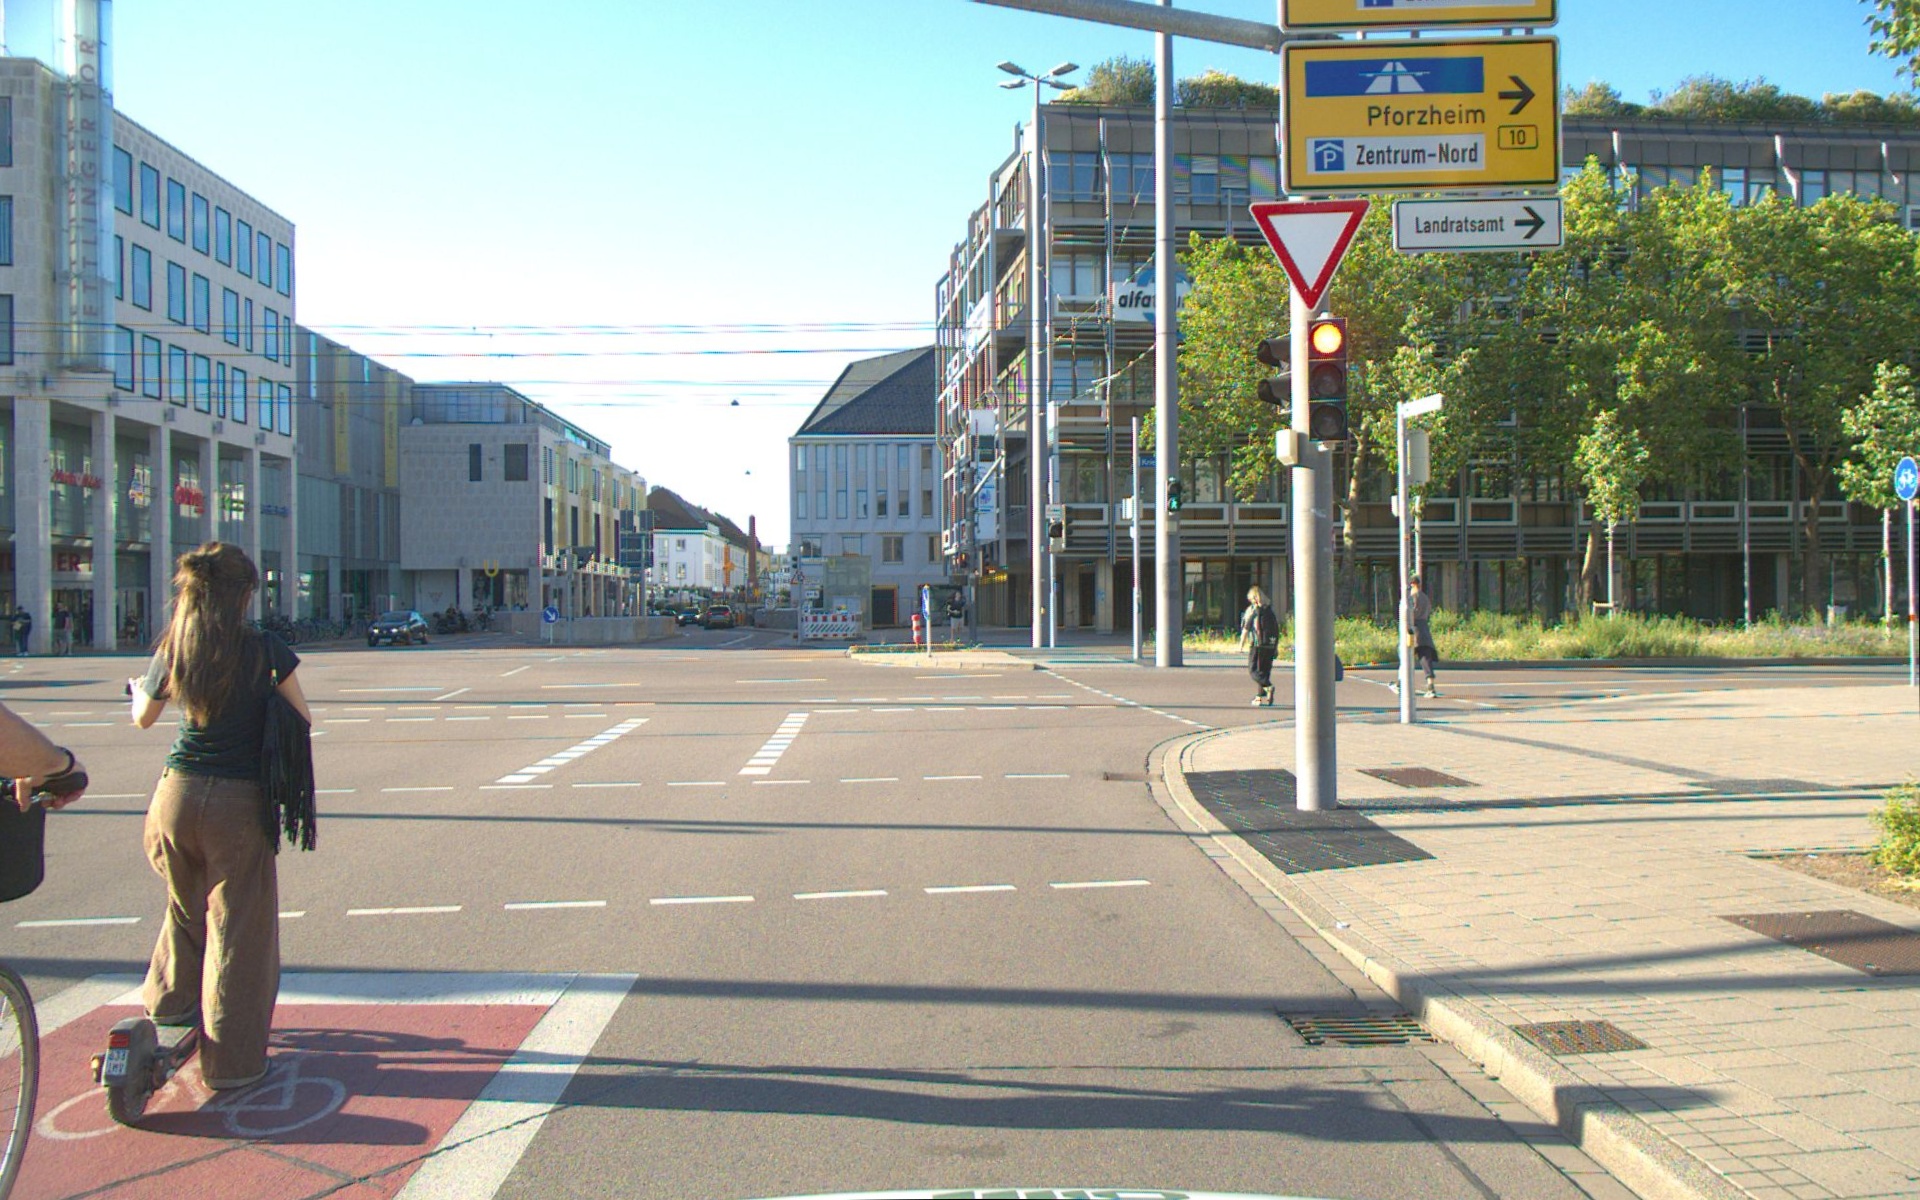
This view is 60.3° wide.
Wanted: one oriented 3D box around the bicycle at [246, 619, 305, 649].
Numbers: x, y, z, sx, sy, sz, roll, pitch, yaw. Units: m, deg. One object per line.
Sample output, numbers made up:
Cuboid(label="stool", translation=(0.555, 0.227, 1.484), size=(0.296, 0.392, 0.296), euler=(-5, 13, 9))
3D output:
Cuboid(label="bicycle", translation=(-29.289, 1.449, 70.765), size=(2.260, 1.244, 0.611), euler=(0, 0, -3))

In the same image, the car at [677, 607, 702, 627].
Cuboid(label="car", translation=(-23.623, 1.502, 144.393), size=(1.762, 1.686, 3.996), euler=(1, 0, -5))

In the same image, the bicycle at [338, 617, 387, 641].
Cuboid(label="bicycle", translation=(-30.816, 1.488, 85.347), size=(2.260, 1.244, 0.611), euler=(0, 0, -3))

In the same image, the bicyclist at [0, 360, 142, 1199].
Cuboid(label="bicyclist", translation=(-1.970, 0.462, 2.864), size=(0.647, 1.750, 0.865), euler=(1, -1, -1))

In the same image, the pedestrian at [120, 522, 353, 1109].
Cuboid(label="pedestrian", translation=(-2.180, 0.615, 5.040), size=(0.540, 1.661, 0.569), euler=(1, -1, -16))

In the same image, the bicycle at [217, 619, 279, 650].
Cuboid(label="bicycle", translation=(-29.332, 1.436, 68.126), size=(2.260, 1.244, 0.611), euler=(0, 0, -3))

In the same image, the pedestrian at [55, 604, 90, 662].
Cuboid(label="pedestrian", translation=(-31.777, 1.168, 59.203), size=(0.868, 2.049, 0.771), euler=(1, -1, -12))

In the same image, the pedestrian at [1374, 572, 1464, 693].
Cuboid(label="pedestrian", translation=(6.622, 0.463, 23.894), size=(0.864, 1.694, 0.960), euler=(1, -1, -16))

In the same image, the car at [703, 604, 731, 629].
Cuboid(label="car", translation=(-15.827, 1.074, 107.956), size=(1.705, 1.558, 3.849), euler=(1, 0, -8))

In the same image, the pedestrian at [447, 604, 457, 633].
Cuboid(label="pedestrian", translation=(-30.100, 1.090, 98.087), size=(0.512, 1.709, 0.581), euler=(1, 0, -14))

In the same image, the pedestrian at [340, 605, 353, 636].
Cuboid(label="pedestrian", translation=(-33.872, 1.146, 91.369), size=(0.544, 1.709, 0.606), euler=(1, 0, -11))

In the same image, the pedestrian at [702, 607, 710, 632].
Cuboid(label="pedestrian", translation=(-17.904, 1.379, 116.756), size=(0.511, 1.709, 0.582), euler=(1, 0, -8))

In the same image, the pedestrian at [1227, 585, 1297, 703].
Cuboid(label="pedestrian", translation=(3.975, 0.577, 21.816), size=(0.772, 1.518, 0.644), euler=(1, -1, -1))

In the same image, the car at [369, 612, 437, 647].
Cuboid(label="car", translation=(-23.376, 1.218, 69.494), size=(1.597, 1.365, 3.998), euler=(-3, 0, -3))

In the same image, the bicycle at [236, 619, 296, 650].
Cuboid(label="bicycle", translation=(-29.125, 1.446, 69.411), size=(2.260, 1.244, 0.611), euler=(0, 0, -3))

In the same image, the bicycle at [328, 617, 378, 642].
Cuboid(label="bicycle", translation=(-30.927, 1.481, 84.276), size=(2.260, 1.244, 0.611), euler=(0, 0, -3))

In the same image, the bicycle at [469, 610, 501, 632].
Cuboid(label="bicycle", translation=(-27.664, 1.232, 96.415), size=(0.503, 1.228, 1.799), euler=(1, 0, 42))

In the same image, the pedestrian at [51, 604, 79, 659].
Cuboid(label="pedestrian", translation=(-31.169, 1.080, 57.613), size=(0.788, 1.876, 0.854), euler=(0, 0, -33))

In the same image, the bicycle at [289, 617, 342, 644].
Cuboid(label="bicycle", translation=(-30.713, 1.461, 78.827), size=(2.260, 1.244, 0.611), euler=(0, 0, -3))

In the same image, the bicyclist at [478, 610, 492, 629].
Cuboid(label="bicyclist", translation=(-27.693, 1.115, 96.377), size=(0.503, 1.103, 0.621), euler=(1, 0, 42))

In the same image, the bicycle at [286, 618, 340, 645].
Cuboid(label="bicycle", translation=(-30.064, 1.463, 76.857), size=(2.260, 1.244, 0.611), euler=(0, 0, -3))

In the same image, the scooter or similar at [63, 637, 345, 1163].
Cuboid(label="scooter or similar", translation=(-2.170, 0.783, 4.872), size=(0.538, 1.316, 1.189), euler=(1, 0, -15))

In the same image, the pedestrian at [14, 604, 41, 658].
Cuboid(label="pedestrian", translation=(-32.860, 1.089, 58.272), size=(0.787, 1.876, 0.856), euler=(0, 0, -29))

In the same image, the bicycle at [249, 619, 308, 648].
Cuboid(label="bicycle", translation=(-29.503, 1.449, 71.642), size=(2.260, 1.244, 0.611), euler=(0, 0, -3))

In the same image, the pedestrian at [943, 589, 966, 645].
Cuboid(label="pedestrian", translation=(-0.200, 0.585, 57.309), size=(0.772, 1.923, 0.644), euler=(1, -1, -1))

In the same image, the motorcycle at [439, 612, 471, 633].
Cuboid(label="motorcycle", translation=(-29.762, 1.344, 97.485), size=(1.775, 1.228, 0.509), euler=(1, 0, -16))

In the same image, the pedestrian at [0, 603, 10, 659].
Cuboid(label="pedestrian", translation=(-33.099, 1.063, 56.864), size=(0.706, 1.918, 0.780), euler=(1, -1, -28))

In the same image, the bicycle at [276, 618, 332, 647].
Cuboid(label="bicycle", translation=(-29.603, 1.461, 74.707), size=(2.260, 1.244, 0.611), euler=(0, 0, -3))

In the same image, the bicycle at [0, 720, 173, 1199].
Cuboid(label="bicycle", translation=(-2.073, 0.867, 2.939), size=(0.475, 1.176, 1.831), euler=(1, 0, -1))

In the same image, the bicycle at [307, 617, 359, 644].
Cuboid(label="bicycle", translation=(-30.334, 1.473, 80.060), size=(2.260, 1.244, 0.611), euler=(0, 0, -3))
